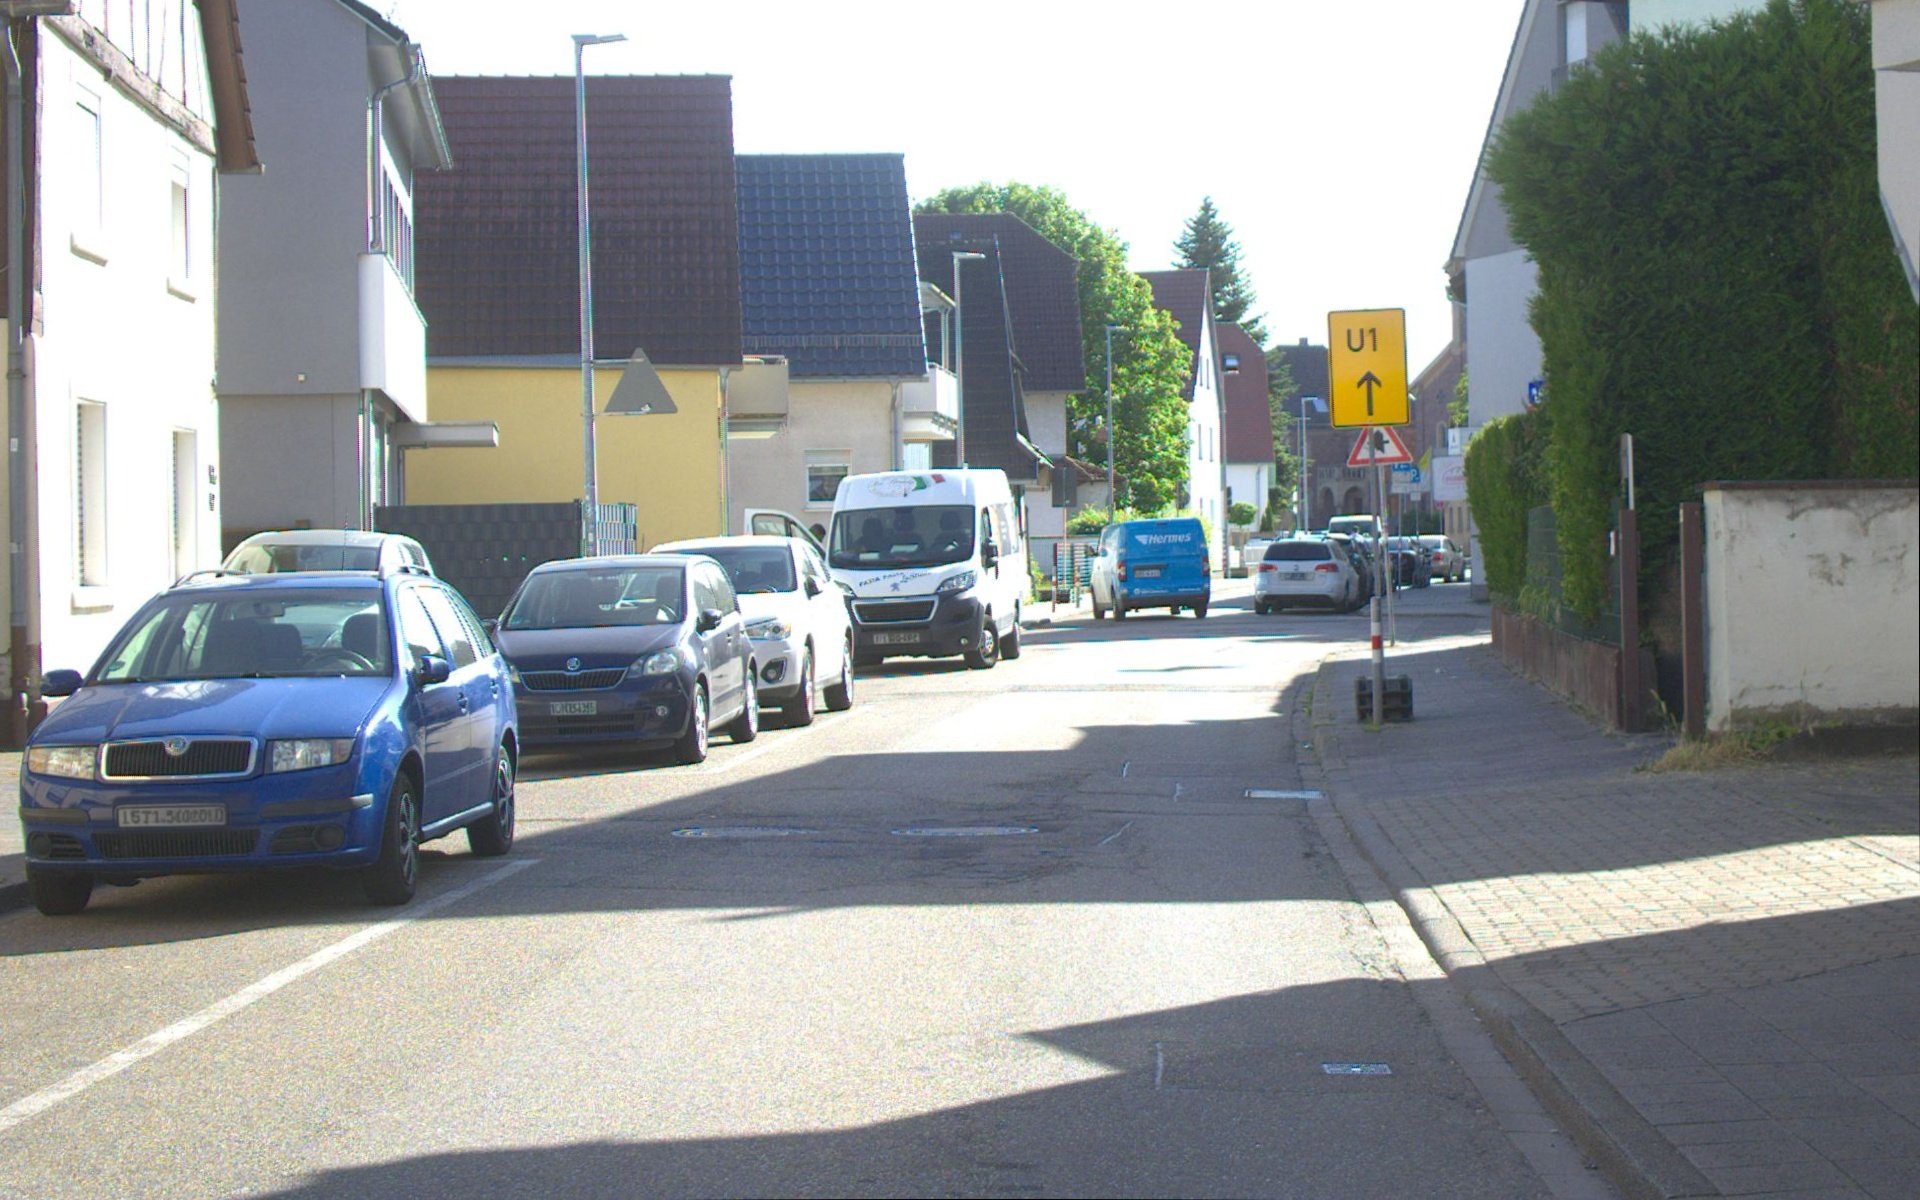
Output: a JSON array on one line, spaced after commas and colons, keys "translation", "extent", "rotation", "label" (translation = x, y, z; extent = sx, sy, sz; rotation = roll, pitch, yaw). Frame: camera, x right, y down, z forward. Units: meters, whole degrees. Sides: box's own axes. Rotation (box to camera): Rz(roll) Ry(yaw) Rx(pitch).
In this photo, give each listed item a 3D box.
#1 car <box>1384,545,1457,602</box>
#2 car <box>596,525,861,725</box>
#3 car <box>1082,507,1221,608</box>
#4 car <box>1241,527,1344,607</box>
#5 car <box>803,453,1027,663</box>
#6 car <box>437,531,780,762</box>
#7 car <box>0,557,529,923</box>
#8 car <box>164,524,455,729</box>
[{"translation": [14.015, -0.787, 104.519], "extent": [1.931, 1.565, 3.998], "rotation": [1, -1, 11], "label": "car"}, {"translation": [-1.932, 0.169, 29.840], "extent": [1.674, 1.566, 3.965], "rotation": [-2, 1, 5], "label": "car"}, {"translation": [3.637, -0.853, 66.185], "extent": [1.920, 1.795, 4.781], "rotation": [-2, 2, -5], "label": "car"}, {"translation": [6.493, -0.630, 67.498], "extent": [1.844, 1.408, 3.999], "rotation": [2, -1, 4], "label": "car"}, {"translation": [-0.481, -0.528, 42.861], "extent": [2.077, 2.386, 5.207], "rotation": [-2, 1, 7], "label": "car"}, {"translation": [-2.502, 0.294, 25.458], "extent": [1.704, 1.513, 4.121], "rotation": [-2, 0, 5], "label": "car"}, {"translation": [-3.113, 0.547, 15.872], "extent": [1.639, 1.436, 4.075], "rotation": [-1, 0, 1], "label": "car"}, {"translation": [-5.544, 0.171, 29.745], "extent": [1.721, 1.590, 4.017], "rotation": [2, 1, 0], "label": "car"}]
